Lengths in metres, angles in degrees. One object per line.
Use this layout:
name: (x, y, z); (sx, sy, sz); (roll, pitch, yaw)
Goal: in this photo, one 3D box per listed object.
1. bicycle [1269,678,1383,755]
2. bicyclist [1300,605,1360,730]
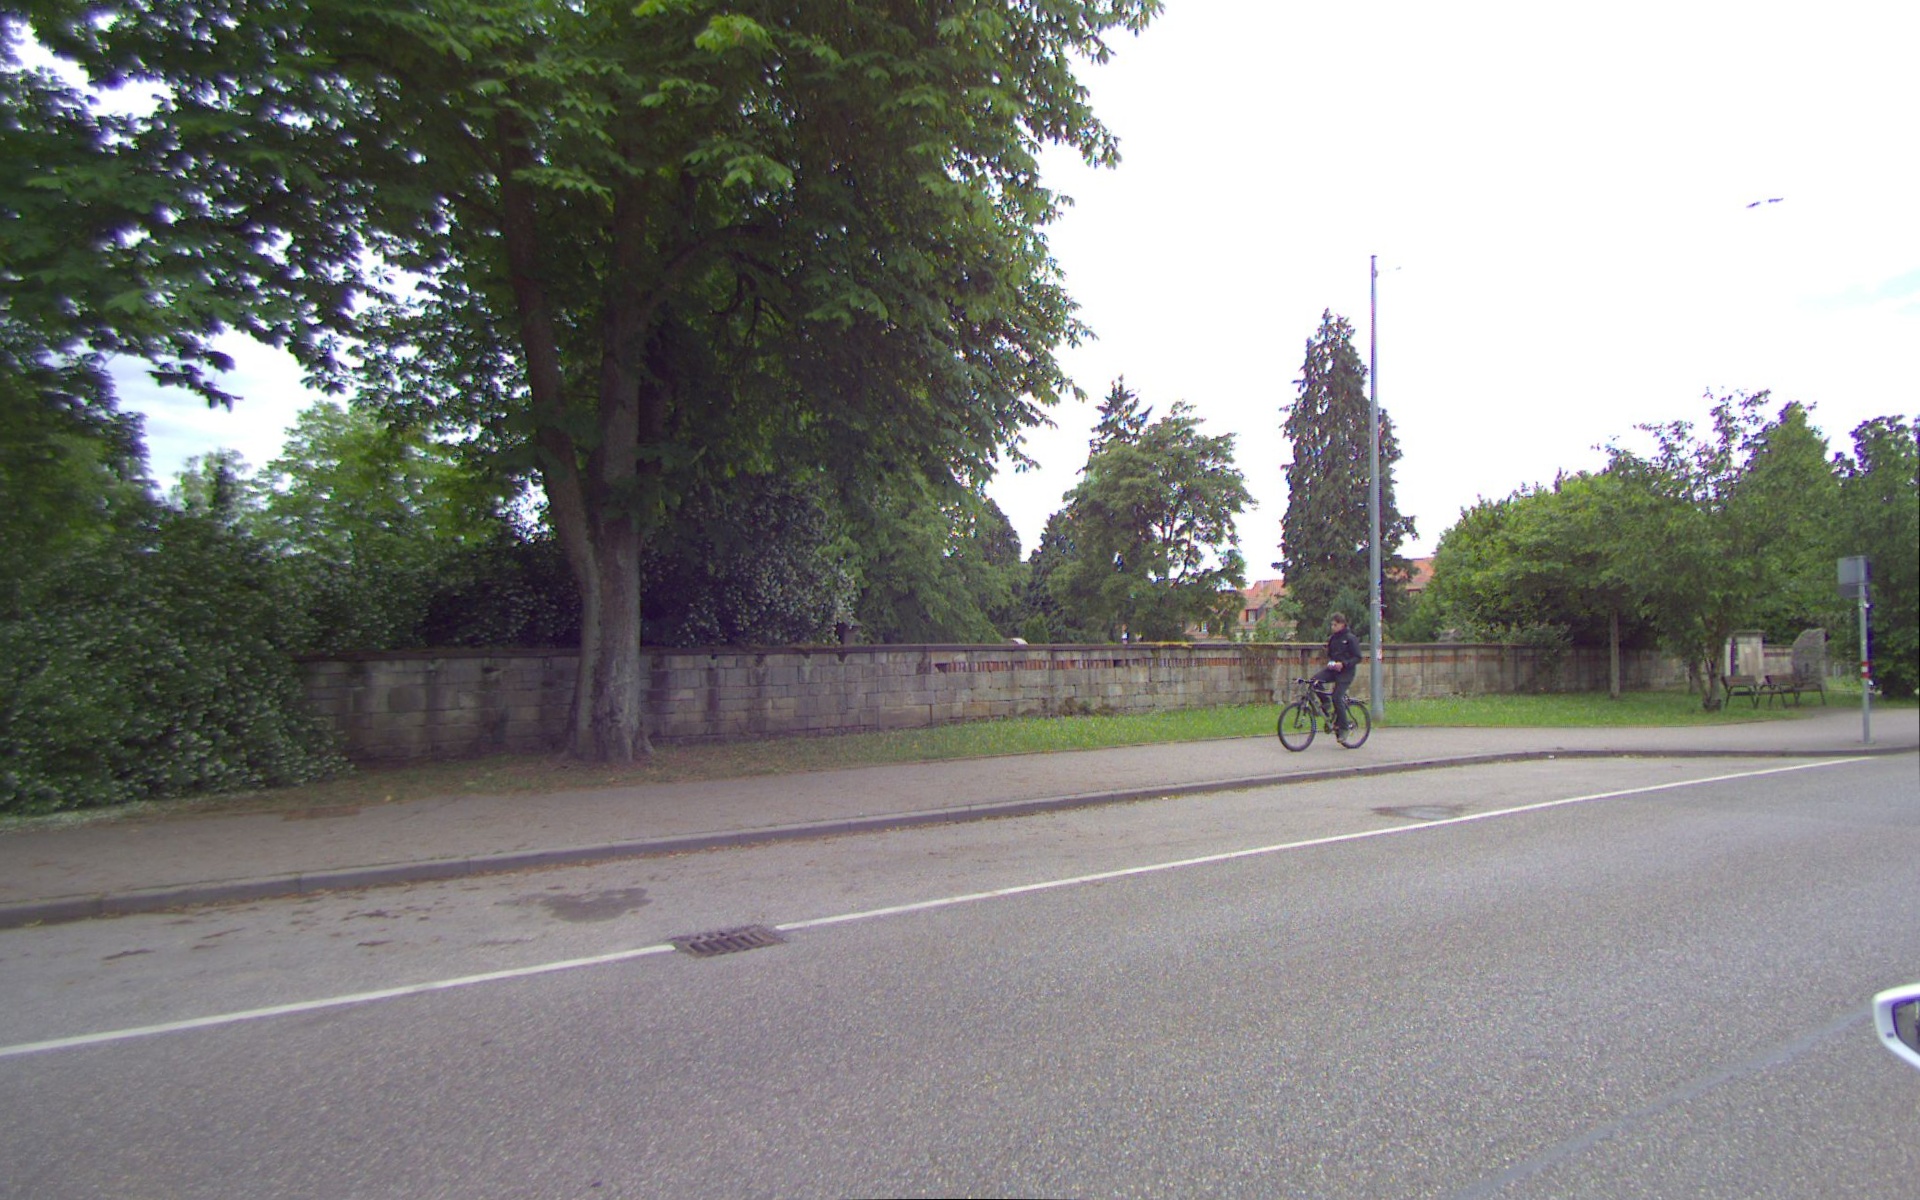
bicycle: (5.142, 1.604, 14.086); (1.728, 0.977, 0.493); (2, 0, -30)
bicyclist: (5.193, 0.931, 14.099); (0.581, 1.706, 0.485); (2, 0, -30)
